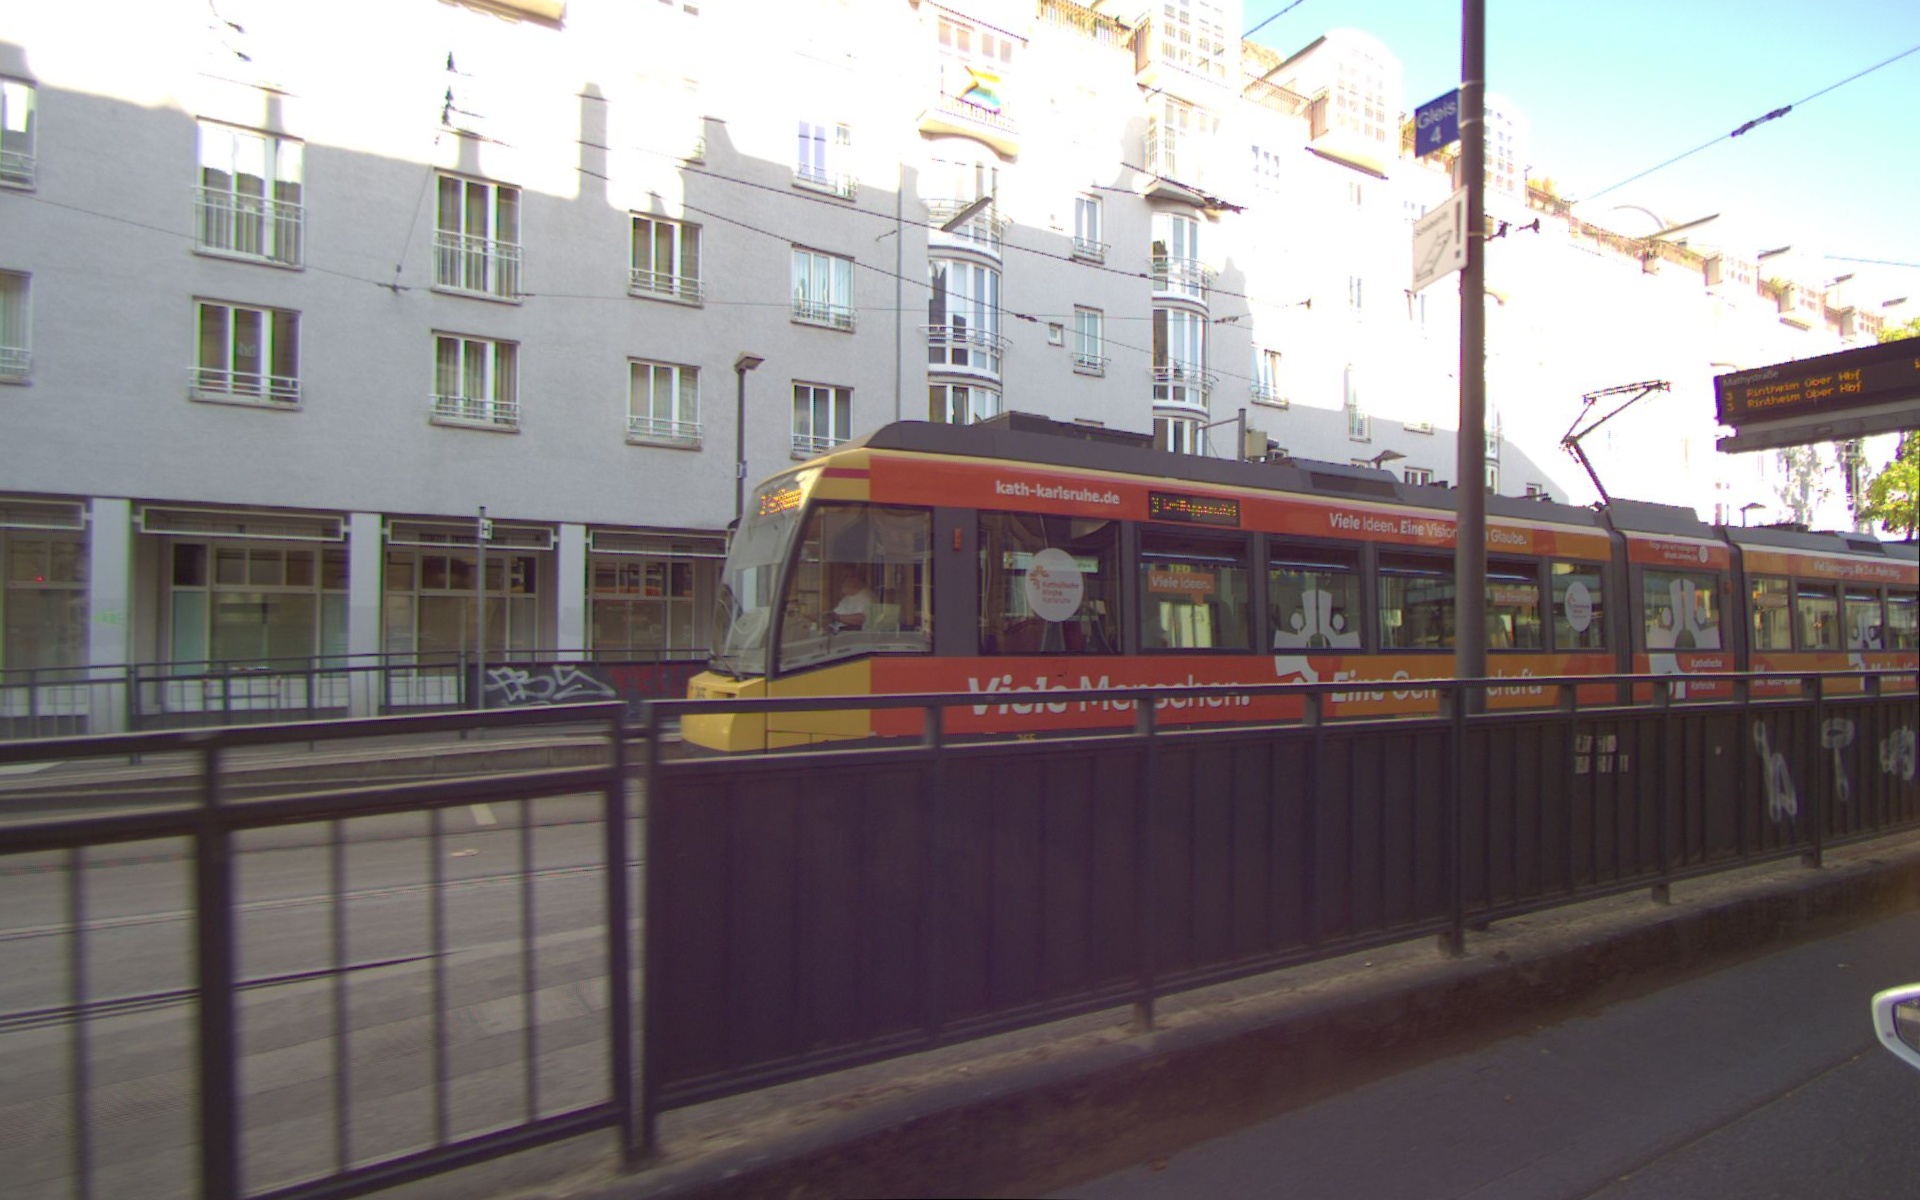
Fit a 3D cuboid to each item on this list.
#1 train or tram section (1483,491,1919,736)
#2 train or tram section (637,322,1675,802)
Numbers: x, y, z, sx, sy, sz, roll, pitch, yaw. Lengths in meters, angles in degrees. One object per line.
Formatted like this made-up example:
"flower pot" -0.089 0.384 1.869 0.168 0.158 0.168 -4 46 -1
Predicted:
"train or tram section" 16.014 0.396 19.434 14.770 3.535 2.873 1 -3 -30
"train or tram section" 3.564 -0.086 12.210 14.002 3.535 2.872 1 -3 -31
